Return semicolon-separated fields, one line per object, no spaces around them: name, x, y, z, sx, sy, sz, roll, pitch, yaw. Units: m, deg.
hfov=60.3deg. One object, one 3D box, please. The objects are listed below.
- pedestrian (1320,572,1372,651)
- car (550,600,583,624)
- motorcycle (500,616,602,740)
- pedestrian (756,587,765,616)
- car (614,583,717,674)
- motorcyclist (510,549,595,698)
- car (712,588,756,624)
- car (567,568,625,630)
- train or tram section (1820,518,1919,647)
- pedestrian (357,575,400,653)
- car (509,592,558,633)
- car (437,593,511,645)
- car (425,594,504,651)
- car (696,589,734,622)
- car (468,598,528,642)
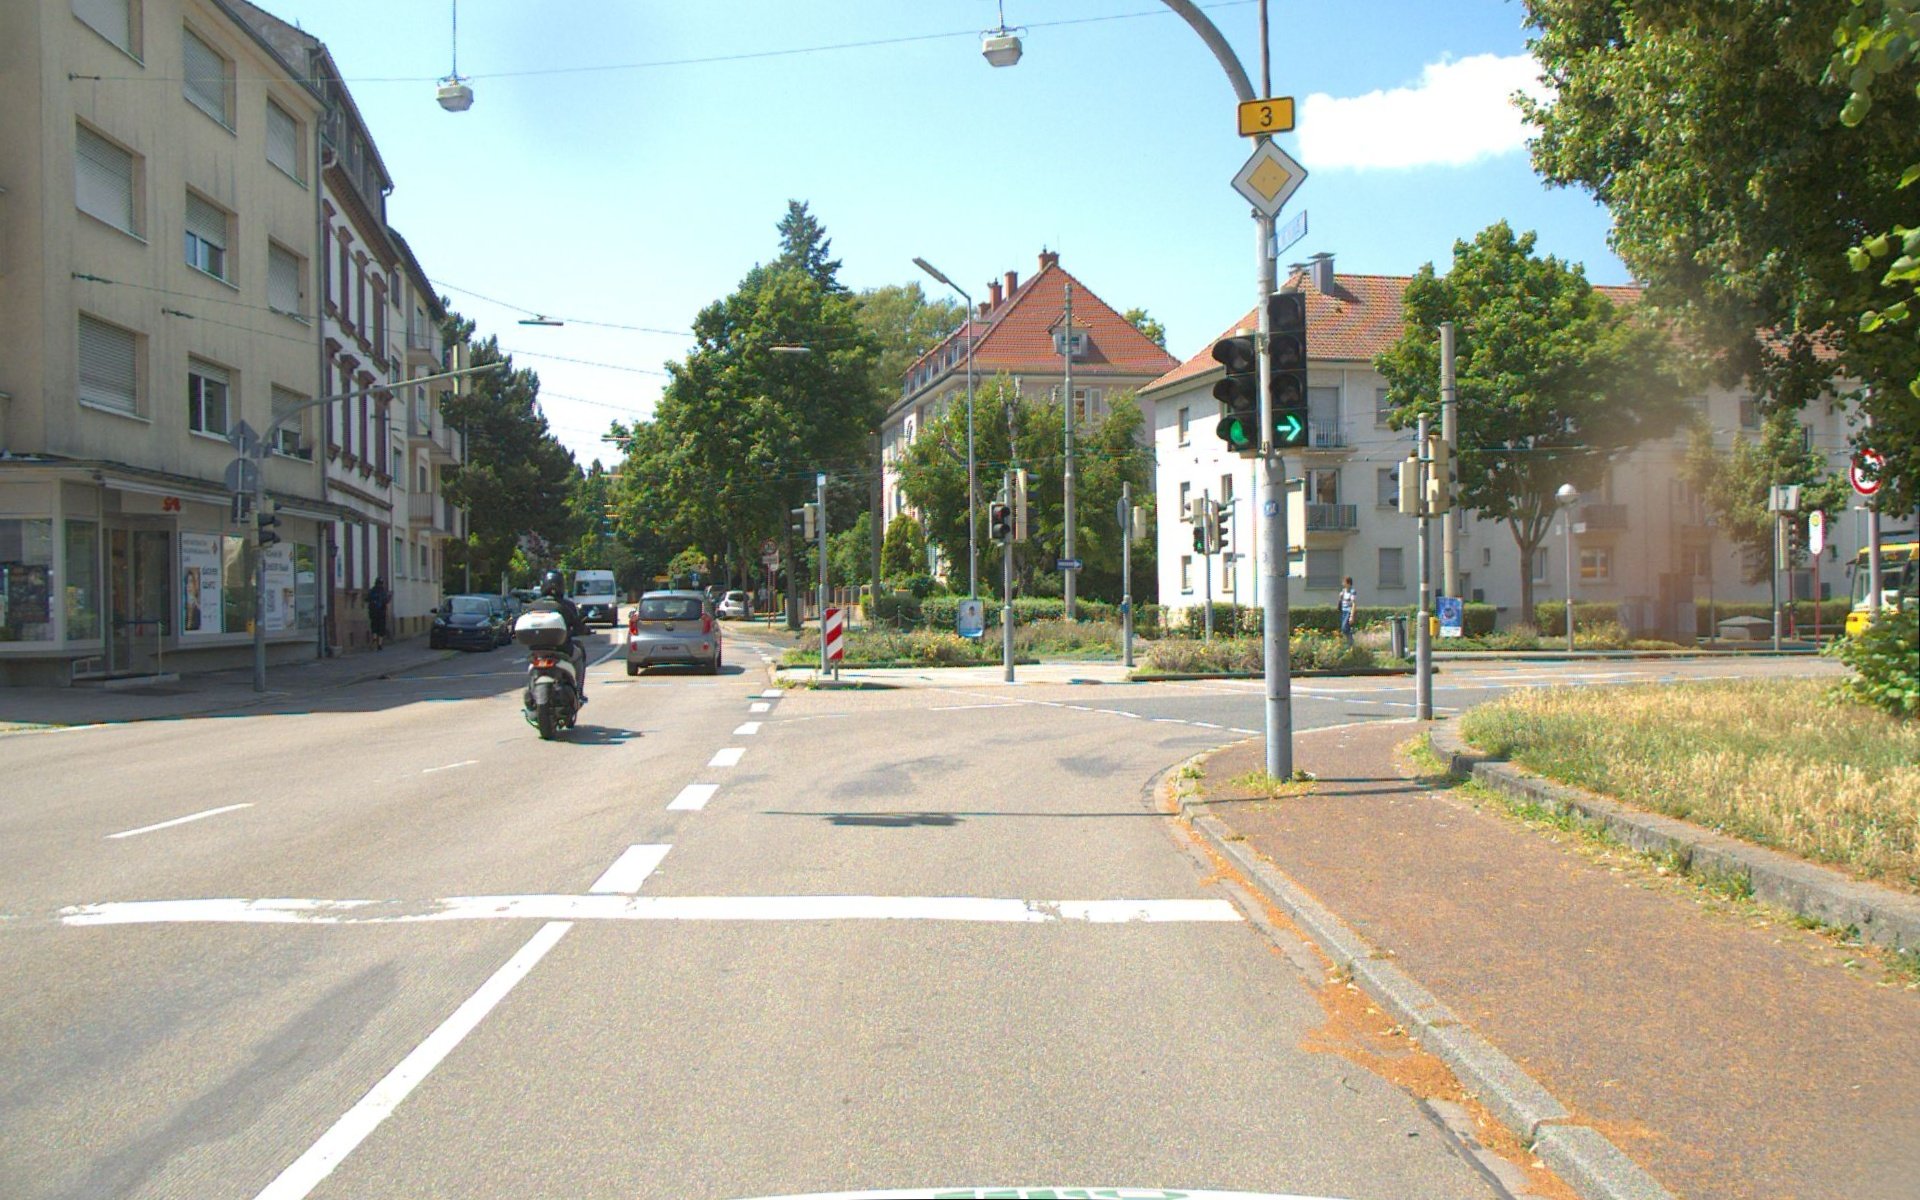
pedestrian;8.592;0.259;36.812;0.826;1.735;0.755;0;0;-28
car;-27.649;0.862;116.257;1.765;1.585;4.030;3;0;-8
motorcycle;-4.141;0.755;16.895;0.697;1.154;2.194;0;0;-6
pedestrian;-11.624;0.063;96.469;0.499;1.685;0.465;0;0;-8
car;-5.473;0.493;30.885;1.766;1.585;4.028;0;0;-9
motorcyclist;-4.142;0.232;16.872;0.697;1.471;1.018;0;0;-6
car;-11.951;0.285;87.237;1.959;1.839;3.986;0;0;-13
car;-16.652;-0.038;76.008;2.176;2.544;7.535;-4;0;-10
train or tram section;32.830;-0.546;50.150;13.904;3.631;2.806;0;0;-16
pedestrian;-14.893;0.349;42.371;0.919;1.965;0.974;0;0;-13
car;-19.604;0.570;76.164;1.766;1.747;4.028;3;0;-10
car;-15.062;0.615;51.424;1.959;1.546;3.985;0;-1;-14
car;-13.968;0.641;46.803;1.960;1.546;3.985;1;-1;-14
car;-14.865;0.322;100.355;1.959;1.940;3.986;0;0;-13
car;-16.725;0.707;60.014;1.960;1.536;3.986;0;0;-14
